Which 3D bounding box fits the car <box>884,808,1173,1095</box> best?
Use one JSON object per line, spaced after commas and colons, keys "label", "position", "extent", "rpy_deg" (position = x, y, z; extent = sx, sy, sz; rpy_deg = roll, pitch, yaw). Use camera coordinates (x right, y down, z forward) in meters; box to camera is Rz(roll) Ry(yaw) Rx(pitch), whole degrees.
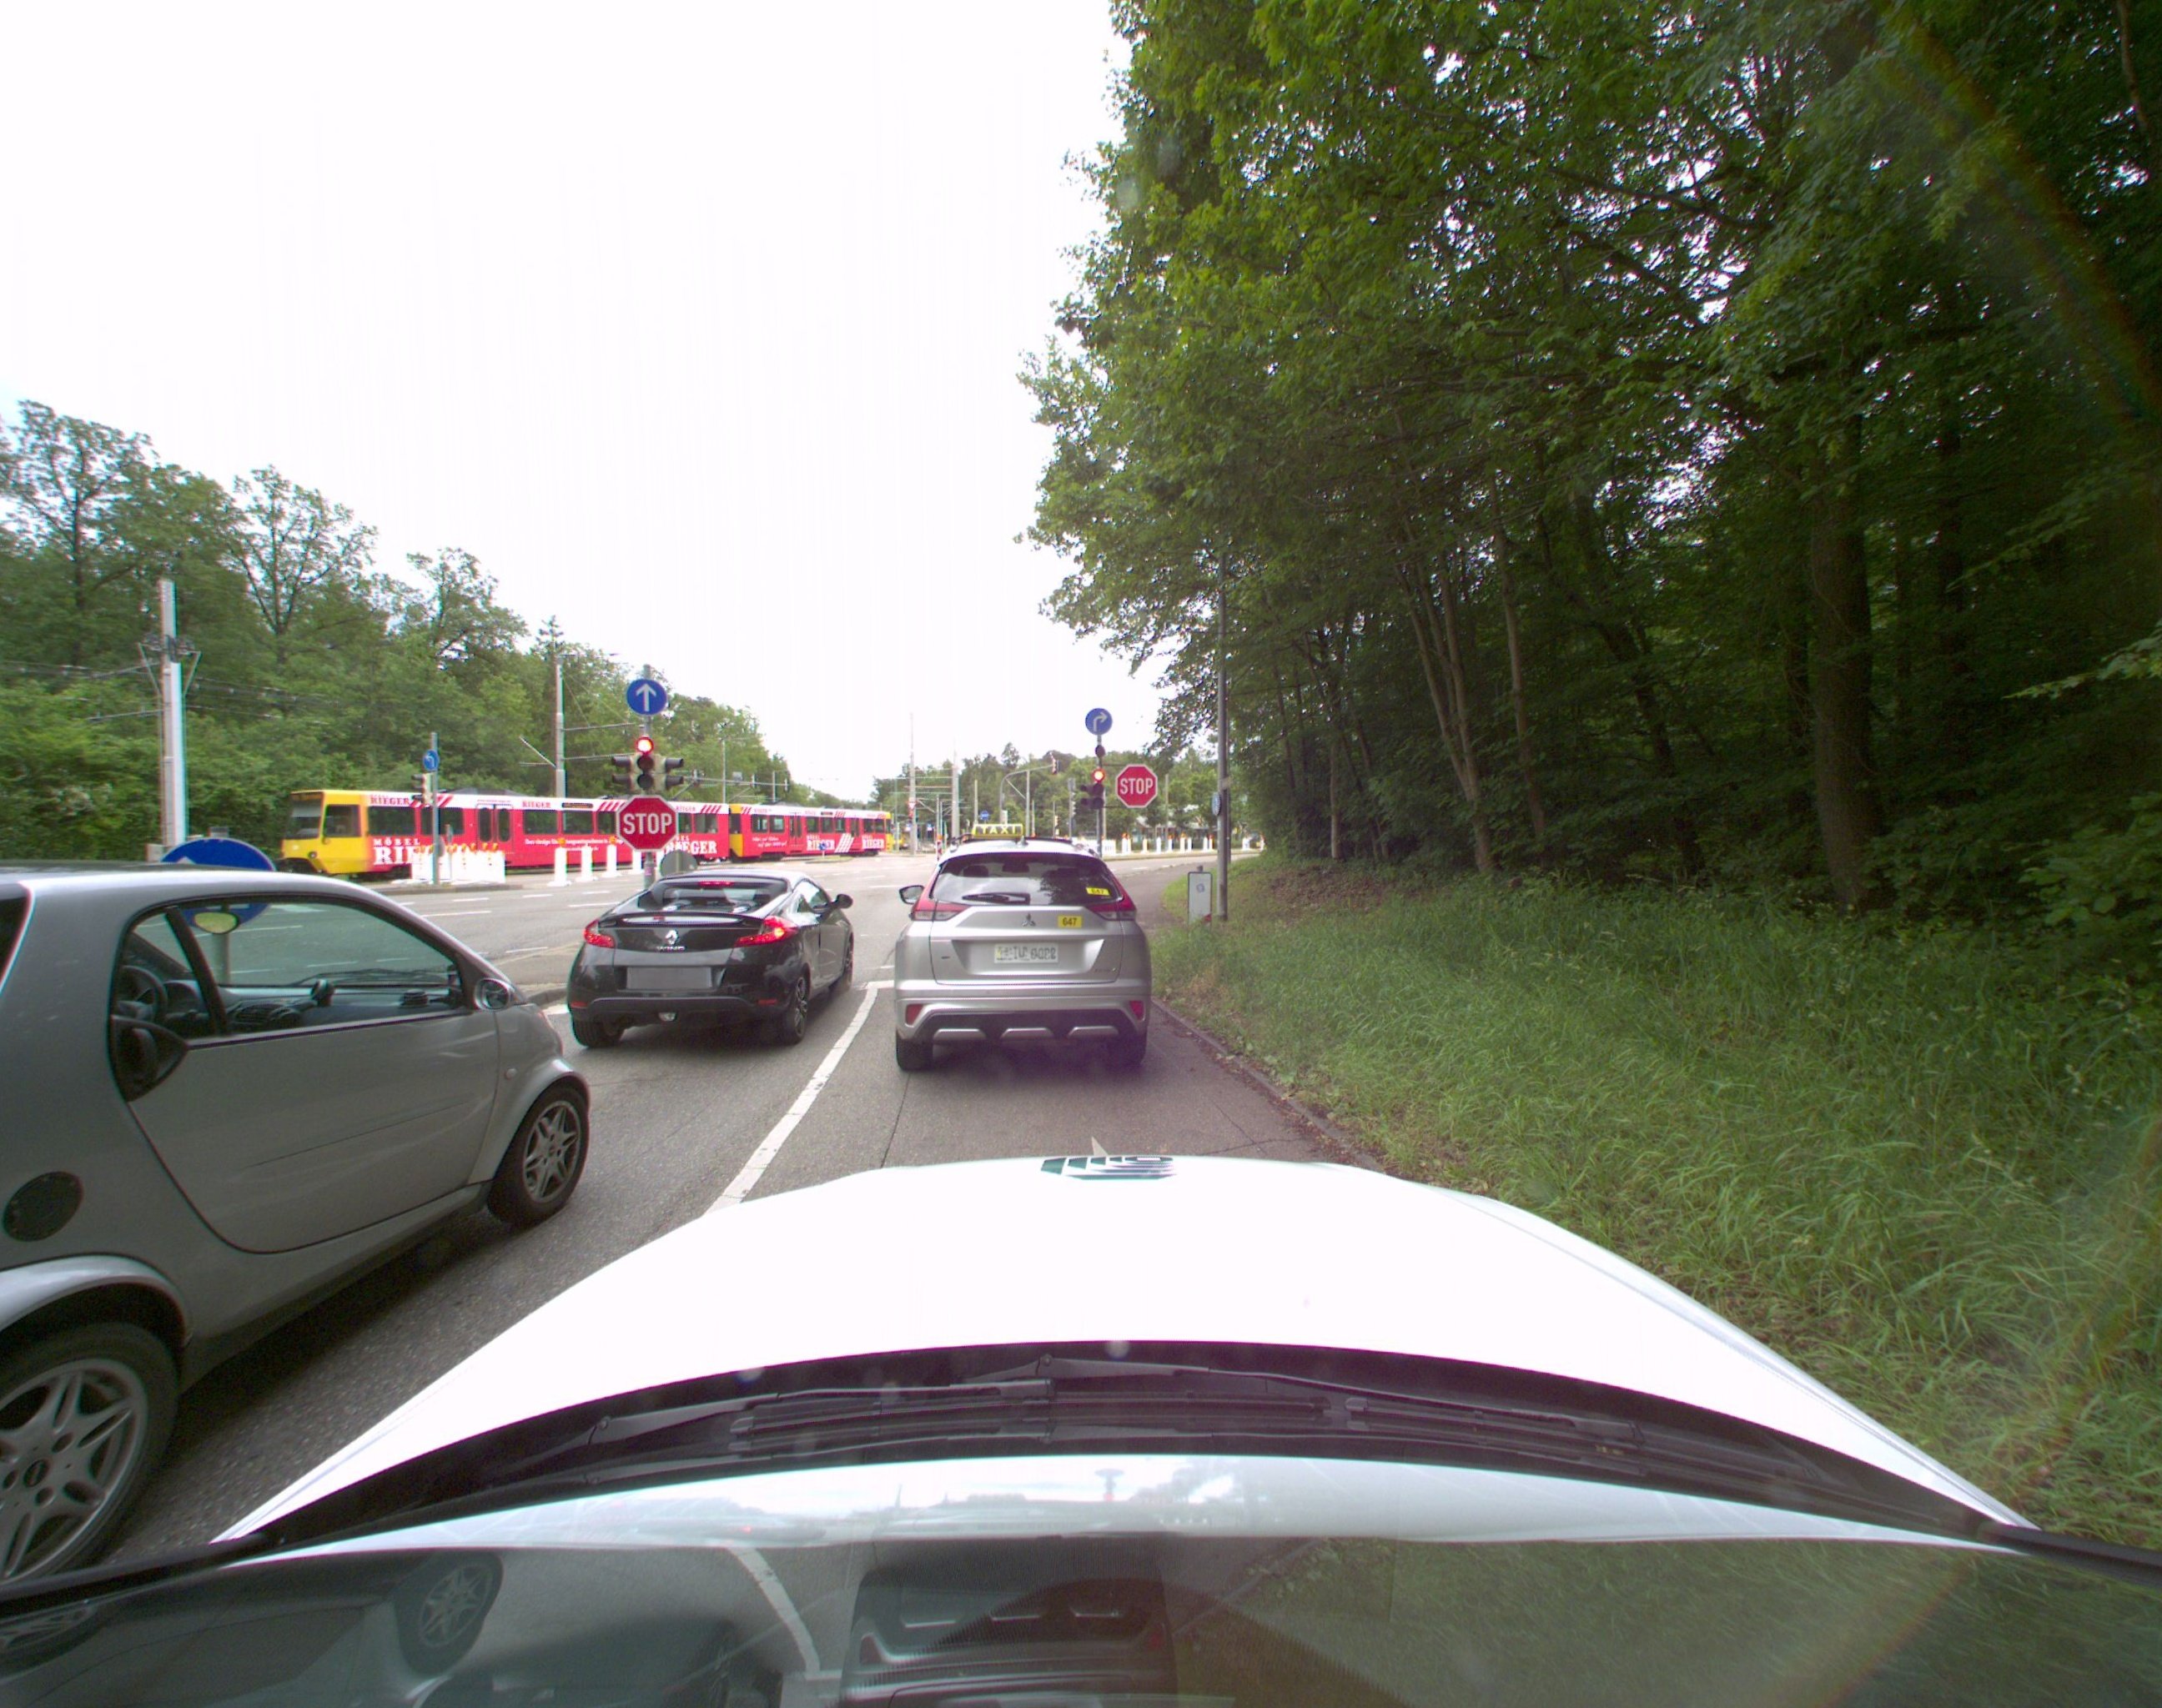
{"label": "car", "position": [-0.517, 0.584, 6.956], "extent": [1.772, 1.748, 3.772], "rpy_deg": [1, 1, -7]}

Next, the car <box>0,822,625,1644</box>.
{"label": "car", "position": [-2.905, 0.732, 2.601], "extent": [1.455, 1.586, 2.724], "rpy_deg": [-1, 1, -4]}

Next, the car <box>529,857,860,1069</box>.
{"label": "car", "position": [-3.175, 0.760, 7.489], "extent": [1.773, 1.361, 3.466], "rpy_deg": [-1, 1, -9]}

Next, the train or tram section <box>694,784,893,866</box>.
{"label": "train or tram section", "position": [-18.420, -1.571, 55.186], "extent": [2.925, 4.650, 18.615], "rpy_deg": [-1, -1, 14]}

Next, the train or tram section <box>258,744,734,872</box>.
{"label": "train or tram section", "position": [-24.400, -1.533, 37.254], "extent": [2.930, 4.418, 18.832], "rpy_deg": [-1, -1, 23]}
